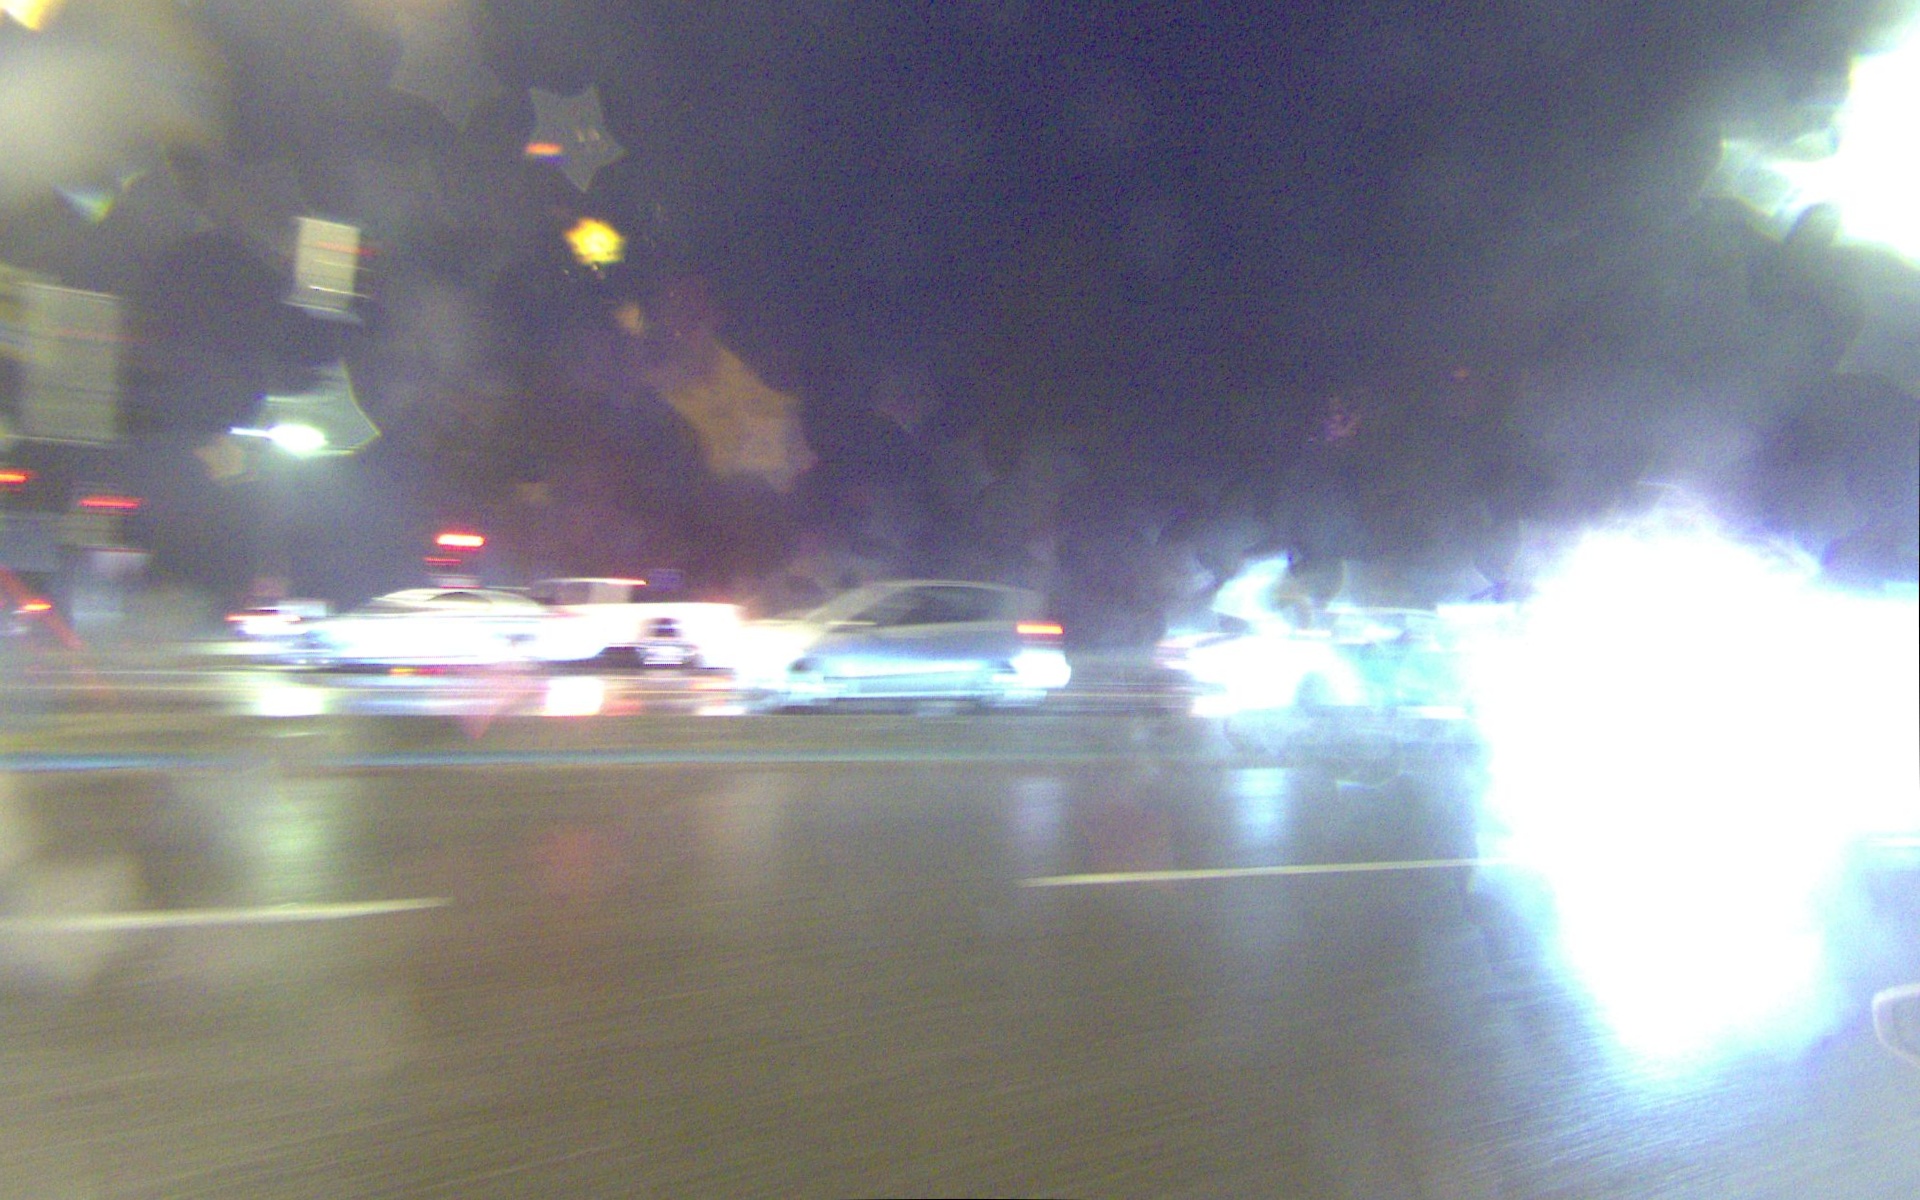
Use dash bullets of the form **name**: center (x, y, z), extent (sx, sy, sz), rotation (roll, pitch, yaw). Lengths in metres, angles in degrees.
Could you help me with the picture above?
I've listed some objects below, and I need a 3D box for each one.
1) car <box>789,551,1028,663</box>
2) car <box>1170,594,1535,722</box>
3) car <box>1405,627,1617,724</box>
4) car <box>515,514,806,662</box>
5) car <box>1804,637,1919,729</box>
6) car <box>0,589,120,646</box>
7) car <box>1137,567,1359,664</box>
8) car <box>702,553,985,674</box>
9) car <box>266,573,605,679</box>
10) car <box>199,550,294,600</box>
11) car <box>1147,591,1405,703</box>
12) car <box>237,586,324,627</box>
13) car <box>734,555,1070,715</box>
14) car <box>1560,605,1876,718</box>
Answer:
- **car**: center (-1.019, 0.123, 19.120), extent (4.213, 1.873, 1.759), rotation (2, 2, -15)
- **car**: center (5.243, 0.765, 13.580), extent (4.337, 1.504, 1.777), rotation (2, 1, -14)
- **car**: center (12.466, 1.698, 22.780), extent (4.057, 1.872, 1.760), rotation (4, 0, -15)
- **car**: center (-6.323, -0.280, 21.720), extent (5.499, 2.746, 2.256), rotation (3, 2, 0)
- **car**: center (20.626, 1.757, 21.496), extent (4.417, 1.688, 1.796), rotation (2, 2, -18)
- **car**: center (-25.295, 0.470, 27.916), extent (1.811, 1.426, 4.098), rotation (3, -1, -23)
- **car**: center (6.122, 0.313, 21.487), extent (4.180, 1.823, 1.798), rotation (2, 2, -15)
- **car**: center (-1.781, 0.210, 15.332), extent (3.987, 1.507, 1.714), rotation (4, 0, -11)
- **car**: center (-8.630, 0.442, 16.994), extent (4.723, 1.446, 1.760), rotation (4, 0, -14)
- **car**: center (-32.624, -1.150, 46.050), extent (1.748, 2.107, 3.995), rotation (3, 2, -6)
- **car**: center (5.526, 0.805, 17.706), extent (3.911, 1.688, 1.798), rotation (4, 0, -15)
- **car**: center (-28.295, 0.239, 41.965), extent (1.714, 1.455, 4.274), rotation (2, 2, -16)
- **car**: center (-0.777, 0.427, 12.429), extent (3.837, 1.748, 1.760), rotation (2, 1, -15)
- **car**: center (11.959, 0.953, 15.901), extent (4.235, 1.598, 1.812), rotation (2, -1, -16)
